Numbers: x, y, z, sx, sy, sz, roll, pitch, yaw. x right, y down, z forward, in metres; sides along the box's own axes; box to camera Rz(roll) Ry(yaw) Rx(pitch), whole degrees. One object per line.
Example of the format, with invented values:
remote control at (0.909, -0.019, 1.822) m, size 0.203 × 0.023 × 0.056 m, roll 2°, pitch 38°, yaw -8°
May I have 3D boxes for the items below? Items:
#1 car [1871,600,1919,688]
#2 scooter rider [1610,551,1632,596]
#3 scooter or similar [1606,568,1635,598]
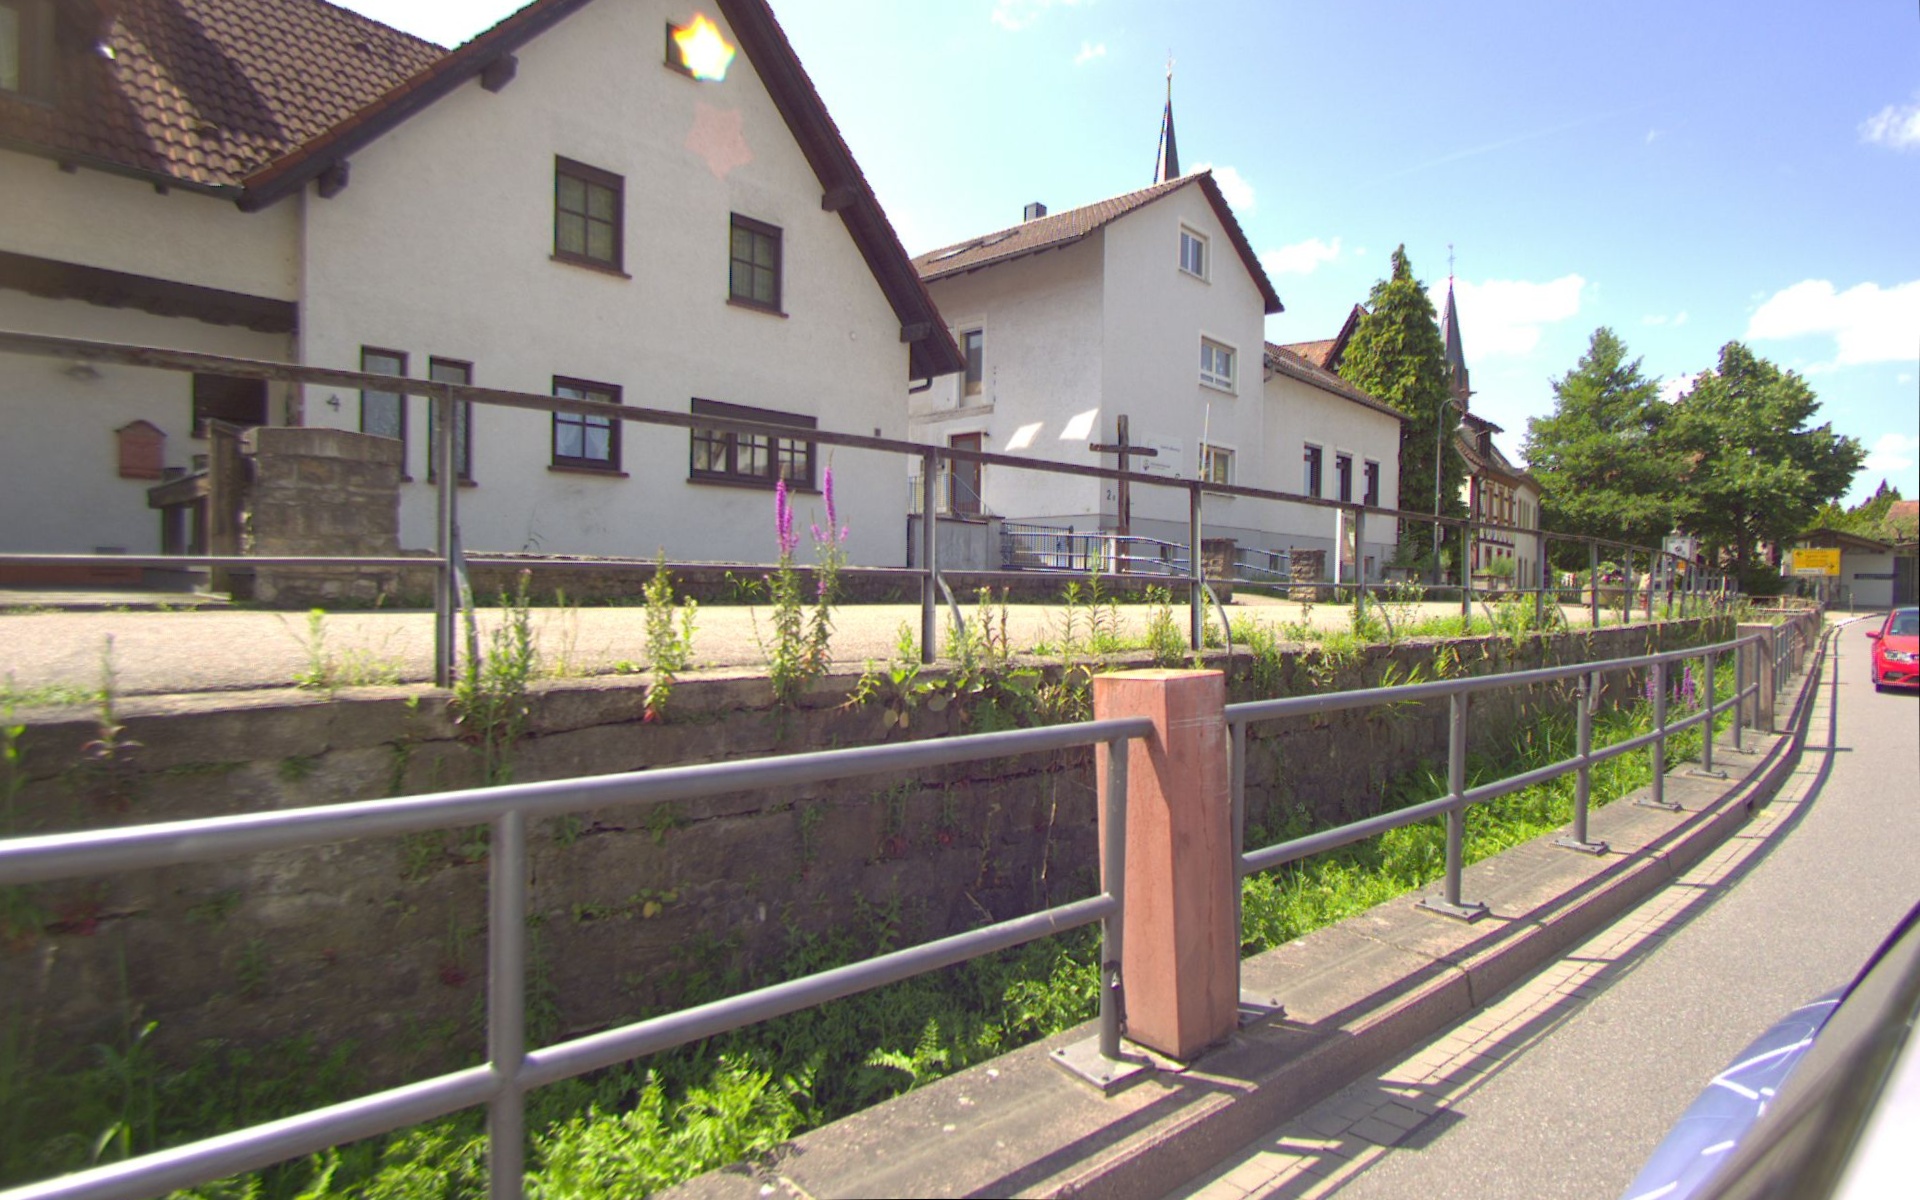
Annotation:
car at (16.310, 0.689, 16.745) m, size 1.663 × 1.369 × 3.444 m, roll -1°, pitch -1°, yaw 39°
scooter rider at (26.158, -1.054, 40.070) m, size 0.641 × 1.753 × 0.546 m, roll 0°, pitch 1°, yaw 43°
scooter or similar at (26.239, -0.675, 40.180) m, size 0.641 × 1.156 × 1.784 m, roll 3°, pitch 3°, yaw 42°
